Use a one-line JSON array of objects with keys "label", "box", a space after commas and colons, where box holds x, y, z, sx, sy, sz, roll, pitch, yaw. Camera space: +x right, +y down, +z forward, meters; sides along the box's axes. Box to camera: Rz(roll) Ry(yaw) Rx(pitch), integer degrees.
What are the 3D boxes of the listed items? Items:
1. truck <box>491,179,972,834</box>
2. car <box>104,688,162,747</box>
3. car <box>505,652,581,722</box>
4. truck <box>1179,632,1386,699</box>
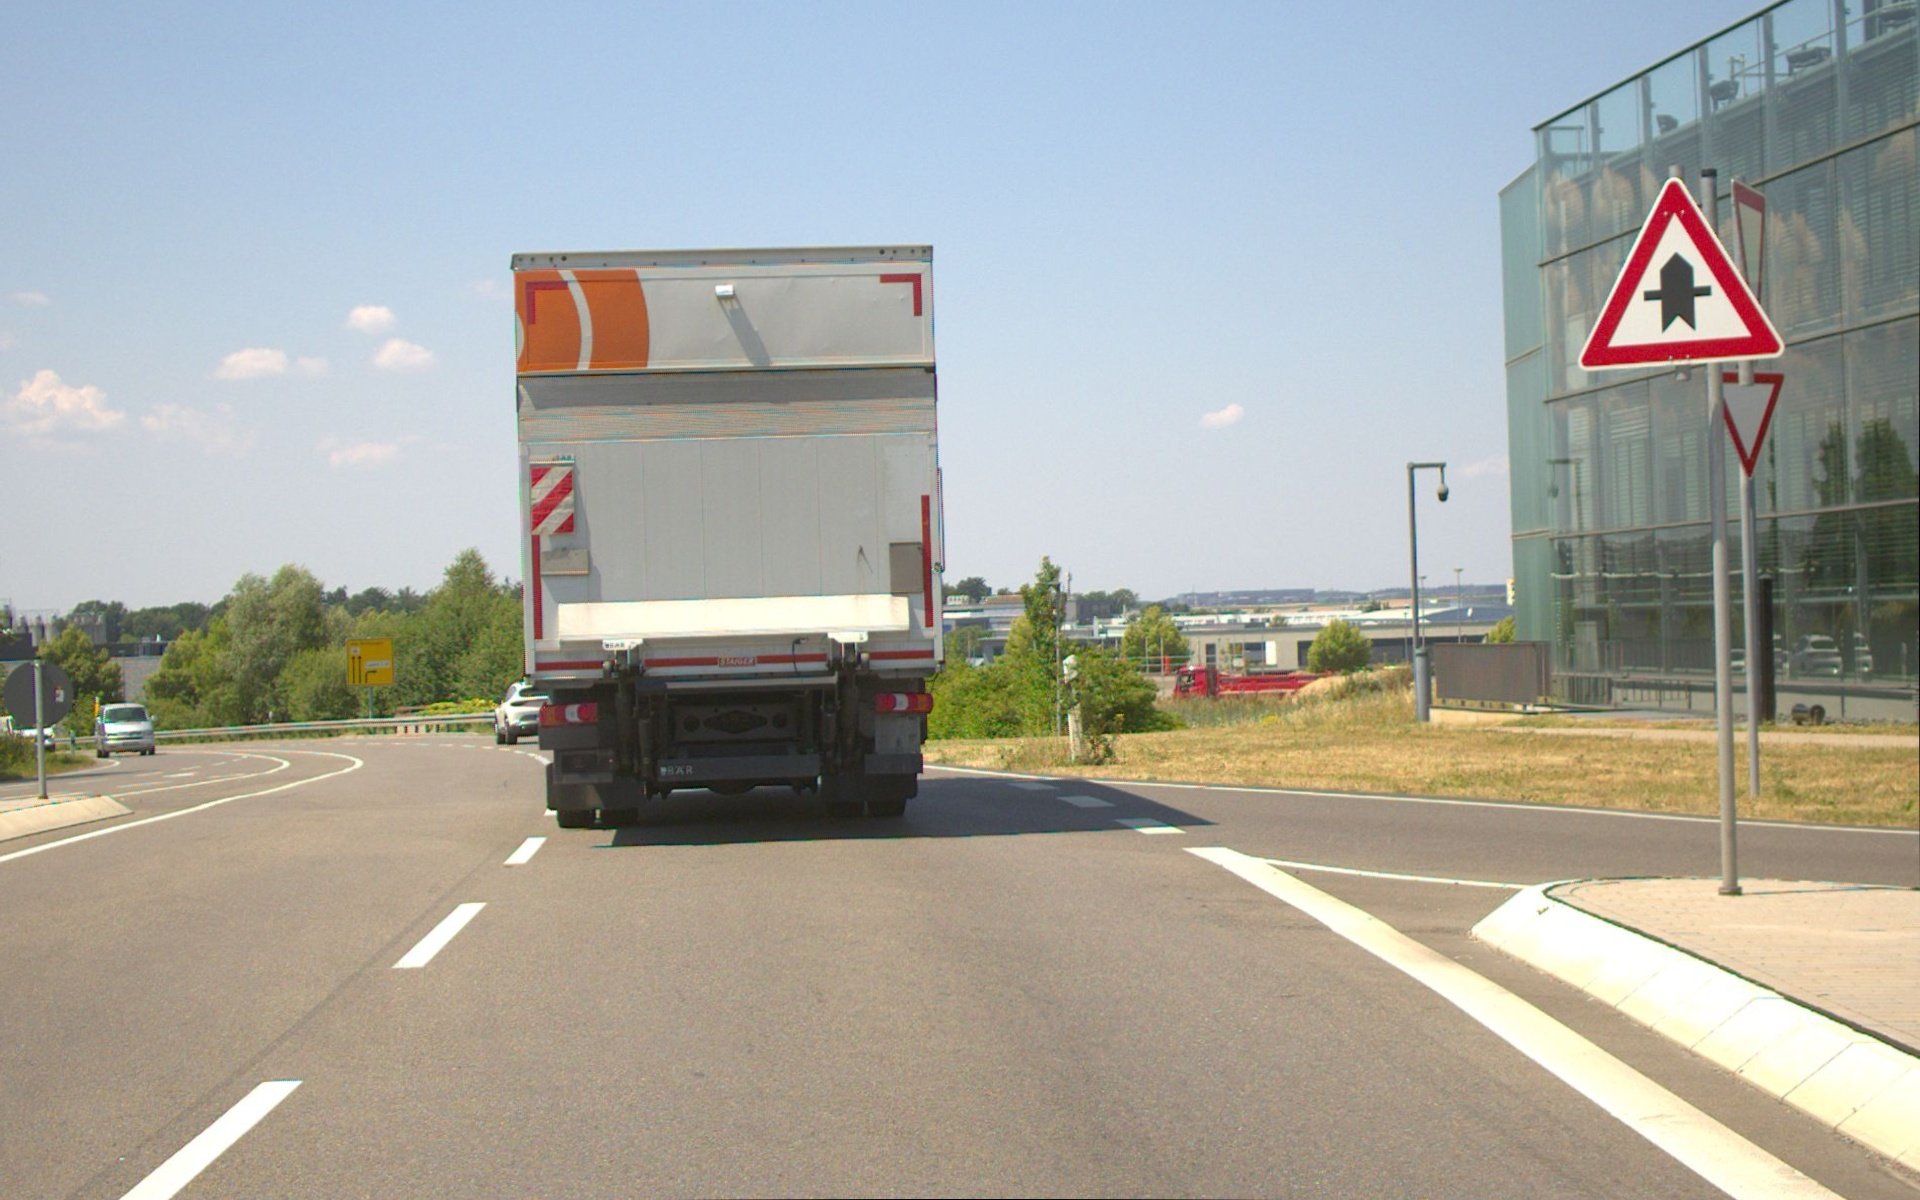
[{"label": "truck", "box": [-1.723, -0.509, 25.178, 2.769, 3.847, 9.371, -1, -1, -5]}, {"label": "car", "box": [-29.960, 4.237, 124.534, 1.802, 1.964, 4.001, 0, 1, -17]}, {"label": "car", "box": [-10.181, 2.105, 83.864, 1.802, 1.551, 4.001, 0, 1, -7]}, {"label": "truck", "box": [16.705, 3.369, 178.299, 10.374, 3.208, 2.454, 1, 1, 22]}]
